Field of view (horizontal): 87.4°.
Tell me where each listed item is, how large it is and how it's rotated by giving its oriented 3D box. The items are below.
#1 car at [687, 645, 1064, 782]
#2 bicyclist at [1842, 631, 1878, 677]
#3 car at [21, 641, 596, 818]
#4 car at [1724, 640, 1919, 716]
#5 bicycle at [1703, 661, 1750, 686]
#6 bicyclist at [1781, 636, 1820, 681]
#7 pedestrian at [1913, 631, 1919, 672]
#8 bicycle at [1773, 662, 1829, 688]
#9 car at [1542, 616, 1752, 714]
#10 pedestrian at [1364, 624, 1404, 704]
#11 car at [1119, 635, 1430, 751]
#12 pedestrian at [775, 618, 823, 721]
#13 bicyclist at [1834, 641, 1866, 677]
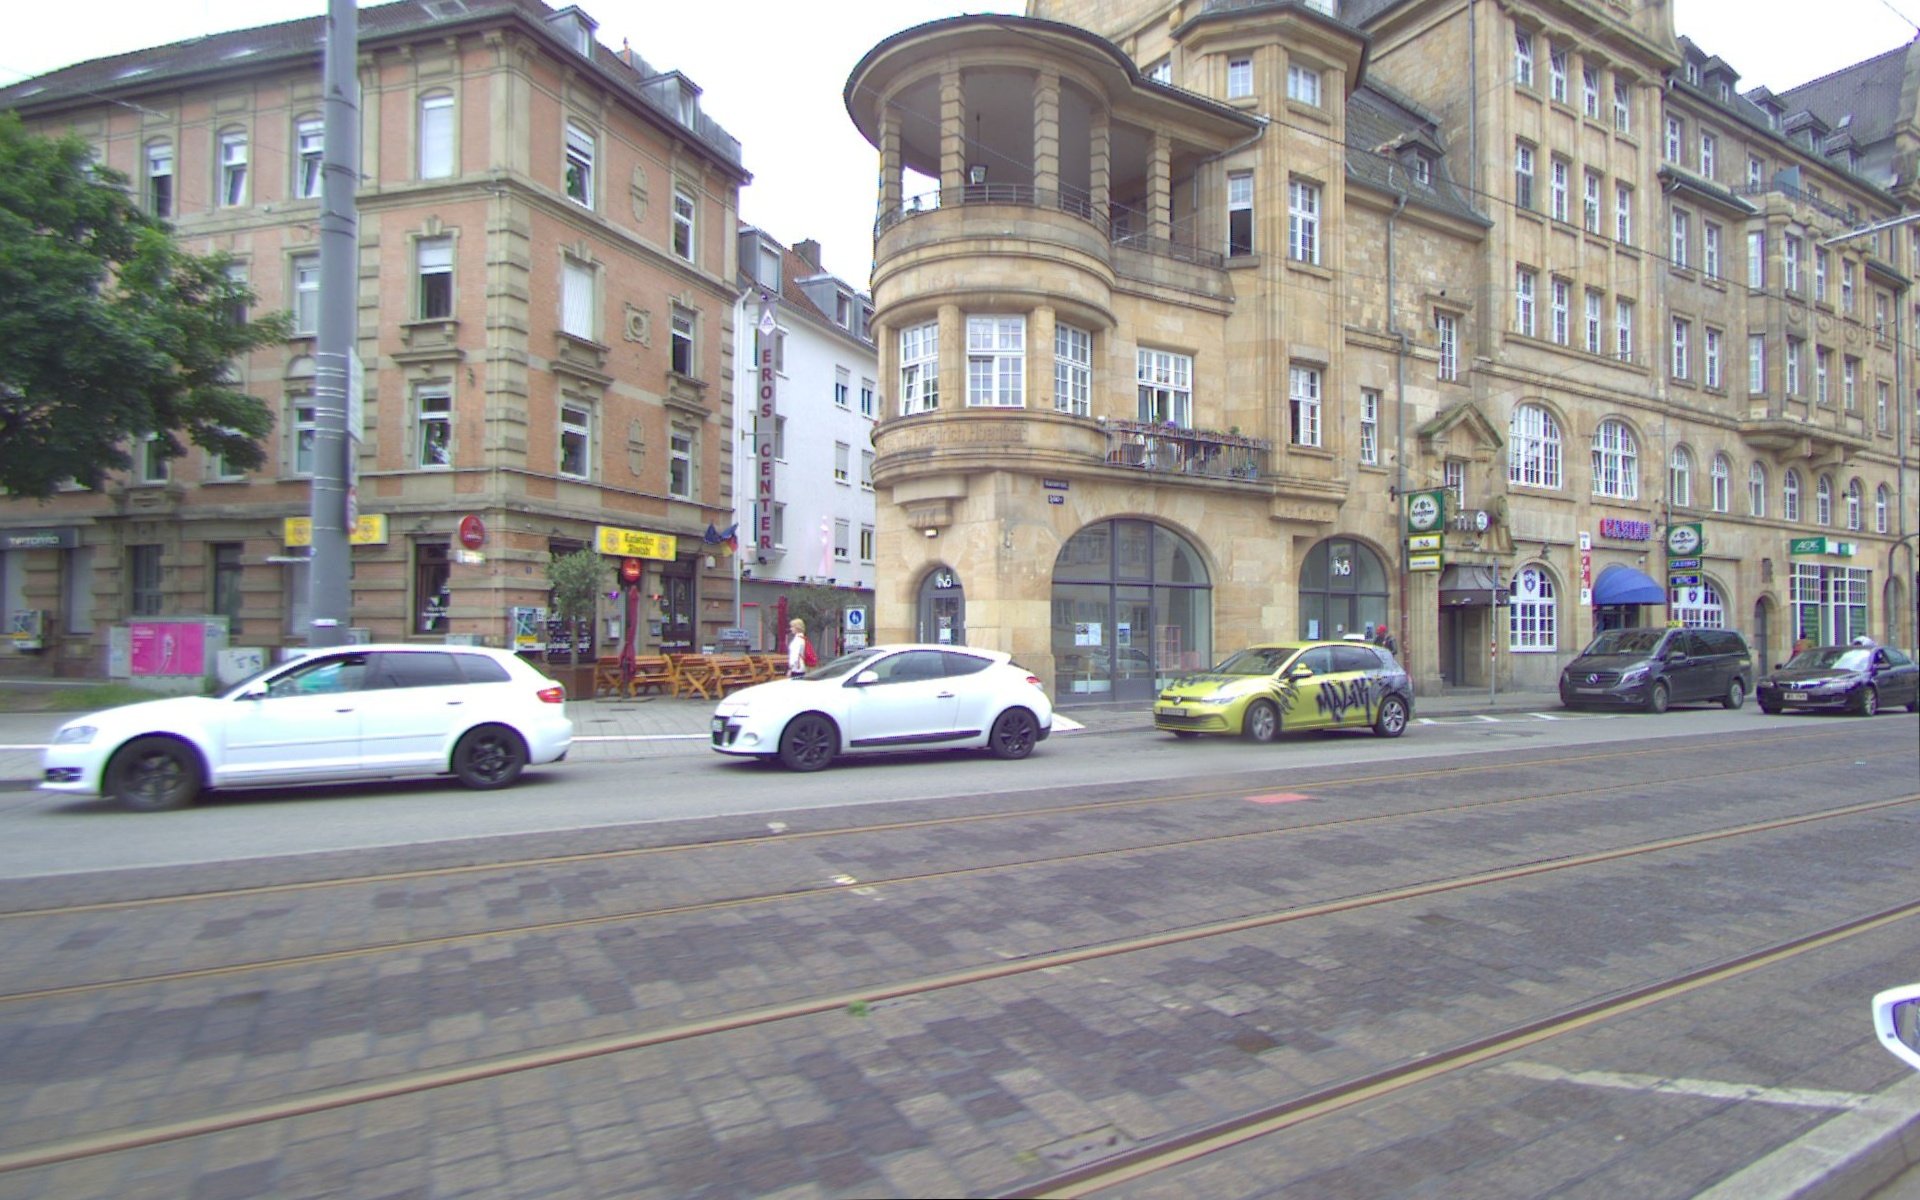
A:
[{"bbox_3d":[-1.011,1.263,12.272,4.203,1.398,1.920,1,-2,-27],"label":"car"},{"bbox_3d":[29.851,1.787,33.311,0.960,1.507,0.608,1,-2,-30],"label":"bicyclist"},{"bbox_3d":[-5.945,1.140,9.786,4.308,1.397,1.740,1,-5,-29],"label":"car"},{"bbox_3d":[18.342,1.588,20.997,4.604,1.452,1.822,1,-4,-25],"label":"car"},{"bbox_3d":[24.654,2.369,32.296,1.686,0.755,0.579,1,-2,-30],"label":"bicycle"},{"bbox_3d":[25.603,1.776,30.598,0.960,1.341,0.608,1,-2,-30],"label":"bicyclist"},{"bbox_3d":[38.526,2.061,39.964,0.733,1.634,0.682,1,-2,-30],"label":"pedestrian"},{"bbox_3d":[25.615,2.279,30.592,2.224,0.755,0.579,2,-2,-30],"label":"bicycle"},{"bbox_3d":[15.582,1.448,22.709,5.038,2.002,1.891,1,-4,-30],"label":"car"},{"bbox_3d":[9.482,1.419,22.458,0.757,1.750,0.492,1,-2,-33],"label":"pedestrian"},{"bbox_3d":[4.739,1.317,15.087,4.370,1.530,1.893,1,-3,-27],"label":"car"},{"bbox_3d":[-2.811,1.197,17.544,0.525,1.742,0.629,-1,-2,41],"label":"pedestrian"},{"bbox_3d":[29.143,1.929,32.895,0.651,1.132,0.608,1,-2,-30],"label":"bicyclist"}]
